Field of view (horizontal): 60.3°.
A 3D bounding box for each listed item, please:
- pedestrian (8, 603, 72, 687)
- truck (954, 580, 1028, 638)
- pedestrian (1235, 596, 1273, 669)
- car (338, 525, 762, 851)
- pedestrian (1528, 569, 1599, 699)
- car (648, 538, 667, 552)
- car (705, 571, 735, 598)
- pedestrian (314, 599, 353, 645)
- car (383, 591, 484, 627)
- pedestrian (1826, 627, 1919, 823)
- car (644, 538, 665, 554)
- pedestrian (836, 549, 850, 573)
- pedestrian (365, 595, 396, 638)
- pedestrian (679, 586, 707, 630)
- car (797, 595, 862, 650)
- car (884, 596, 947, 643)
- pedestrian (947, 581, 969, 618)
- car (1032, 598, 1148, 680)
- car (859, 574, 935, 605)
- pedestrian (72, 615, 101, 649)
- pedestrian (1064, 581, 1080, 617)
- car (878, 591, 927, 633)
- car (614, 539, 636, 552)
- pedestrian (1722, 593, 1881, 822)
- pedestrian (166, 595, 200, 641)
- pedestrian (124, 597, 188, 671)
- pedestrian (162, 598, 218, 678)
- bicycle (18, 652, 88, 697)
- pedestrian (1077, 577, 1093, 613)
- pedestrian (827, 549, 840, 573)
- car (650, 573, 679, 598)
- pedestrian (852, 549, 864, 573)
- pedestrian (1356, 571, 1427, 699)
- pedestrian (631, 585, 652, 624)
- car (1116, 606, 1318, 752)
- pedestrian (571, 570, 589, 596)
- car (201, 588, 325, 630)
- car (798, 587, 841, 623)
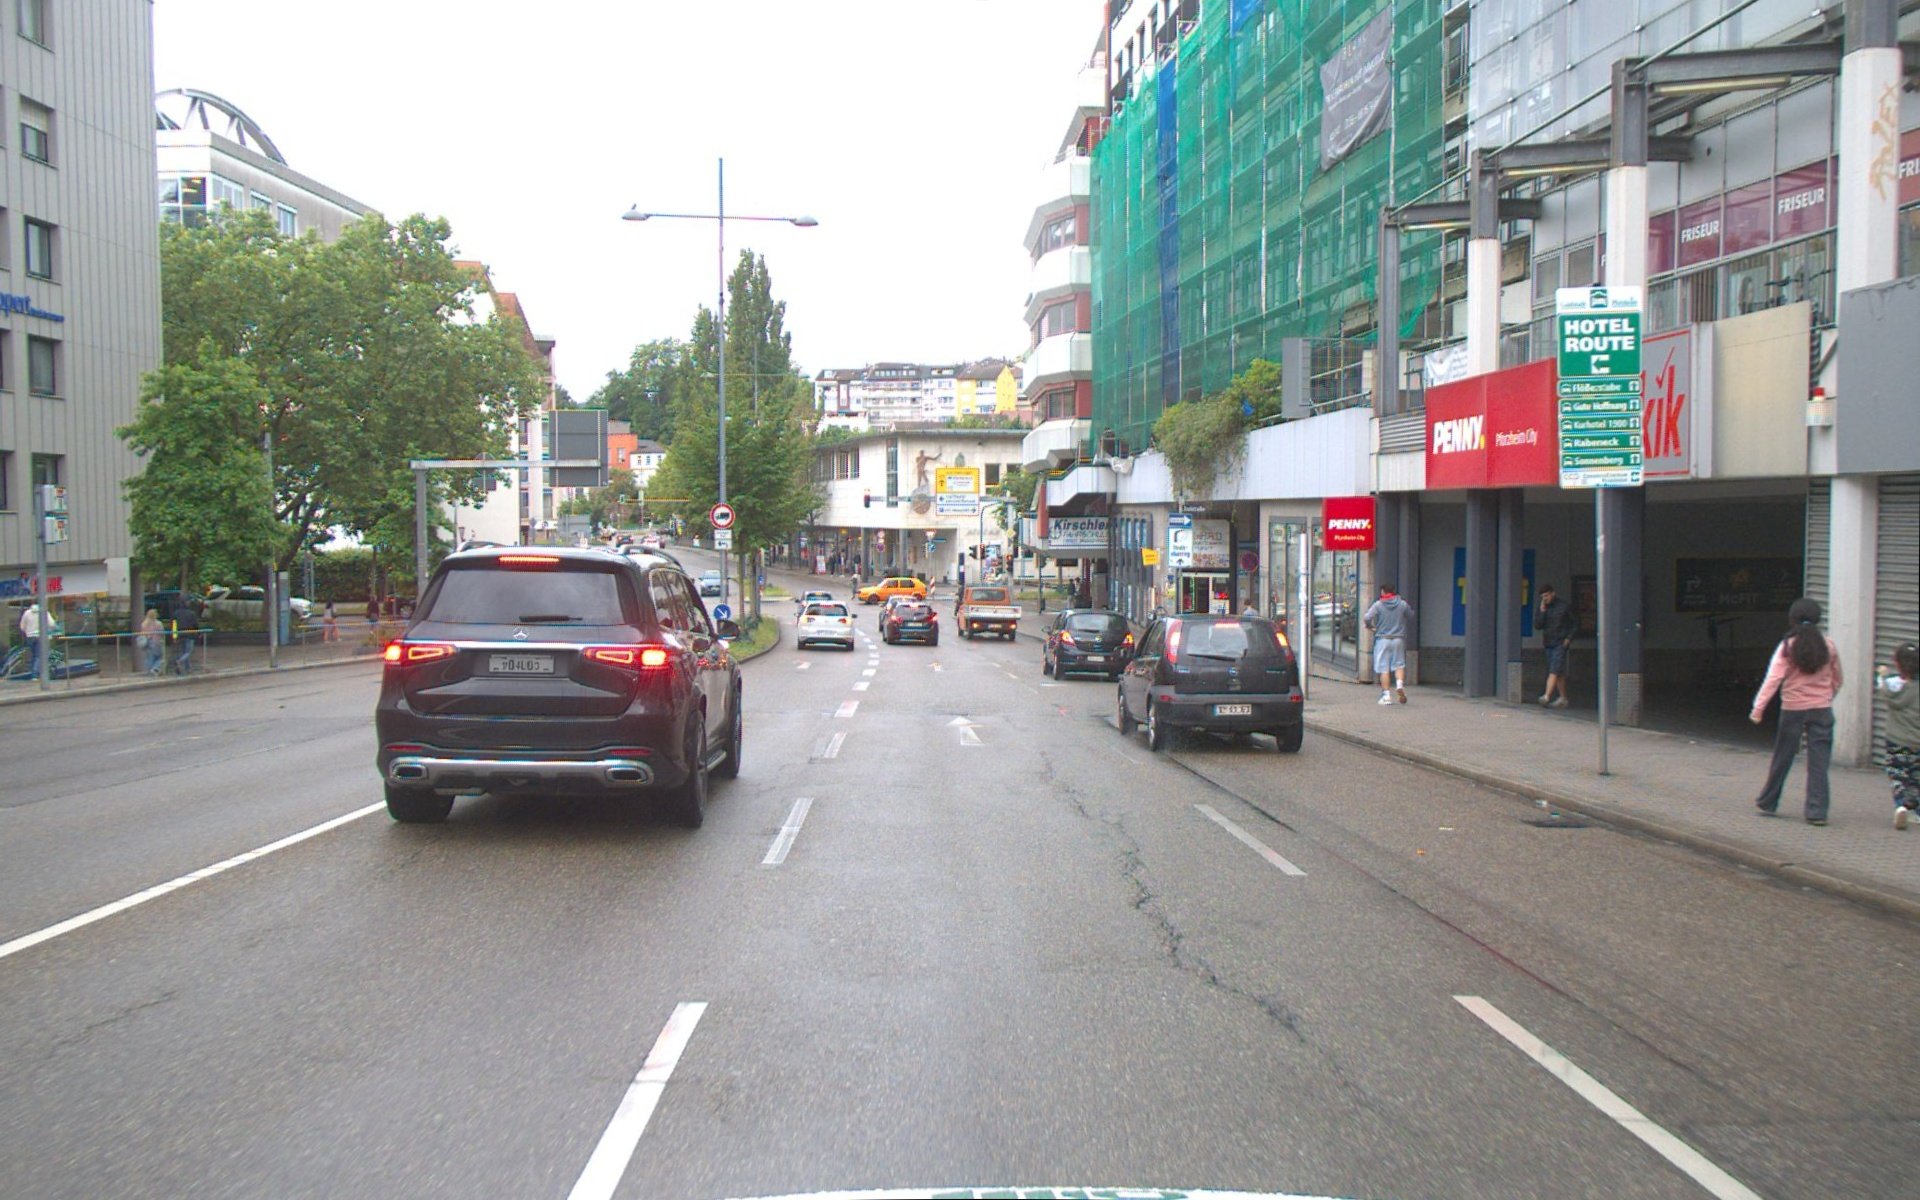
[{"bbox_3d":[-19.787,0.948,35.596,0.977,1.752,1.033,-1,0,-18],"label":"pedestrian"},{"bbox_3d":[1.131,0.299,63.641,2.142,2.119,5.595,0,0,-6],"label":"truck"},{"bbox_3d":[6.919,0.768,38.943,0.631,1.678,0.560,-2,-1,39],"label":"pedestrian"},{"bbox_3d":[-2.678,0.500,12.063,2.046,1.848,4.790,2,0,-3],"label":"car"},{"bbox_3d":[8.357,0.457,22.935,0.655,1.745,0.818,-1,0,0],"label":"pedestrian"},{"bbox_3d":[-36.401,-6.588,198.909,1.803,1.616,3.855,0,0,-17],"label":"car"},{"bbox_3d":[-14.630,-0.945,101.109,1.786,1.576,3.993,0,0,-8],"label":"car"},{"bbox_3d":[-24.928,0.863,65.849,0.929,1.752,1.015,-2,2,23],"label":"pedestrian"},{"bbox_3d":[-25.562,0.448,80.405,4.610,1.672,1.778,1,0,-18],"label":"car"},{"bbox_3d":[6.161,0.805,10.841,0.676,1.228,0.554,-1,0,5],"label":"pedestrian"},{"bbox_3d":[-33.720,-5.914,182.463,1.961,1.624,3.983,0,0,-16],"label":"car"},{"bbox_3d":[-9.025,-2.993,127.278,0.833,1.834,1.051,-1,0,-18],"label":"pedestrian"},{"bbox_3d":[-23.946,0.678,68.353,0.929,1.752,0.760,-1,0,17],"label":"pedestrian"},{"bbox_3d":[-12.030,0.347,74.445,1.041,1.915,0.839,-1,0,3],"label":"pedestrian"},{"bbox_3d":[-3.984,0.666,51.159,1.911,1.601,3.998,0,1,-3],"label":"car"},{"bbox_3d":[-1.587,0.663,57.511,1.777,1.466,3.994,1,1,-7],"label":"car"},{"bbox_3d":[-0.090,-0.019,79.227,0.989,1.752,0.838,-1,0,1],"label":"pedestrian"},{"bbox_3d":[2.699,0.785,35.203,1.911,1.601,3.997,0,1,-4],"label":"car"},{"bbox_3d":[-3.510,-0.576,91.574,3.929,1.645,1.769,0,0,-14],"label":"car"},{"bbox_3d":[-34.329,1.269,65.005,0.939,1.294,0.752,-2,1,-30],"label":"pedestrian"},{"bbox_3d":[5.475,-0.054,81.061,0.566,1.729,0.648,-1,0,-13],"label":"pedestrian"},{"bbox_3d":[-2.355,0.453,66.966,1.727,1.569,3.995,0,1,-6],"label":"car"},{"bbox_3d":[-41.117,-6.695,202.968,1.727,1.581,3.539,0,1,-26],"label":"car"},{"bbox_3d":[5.651,0.707,11.136,0.730,1.462,0.597,-3,0,5],"label":"pedestrian"},{"bbox_3d":[-30.192,0.708,64.269,0.741,1.752,0.953,-1,0,9],"label":"pedestrian"},{"bbox_3d":[-19.780,0.827,40.714,0.953,1.752,1.090,-1,0,4],"label":"pedestrian"},{"bbox_3d":[-17.524,0.852,37.654,0.801,1.743,1.310,-1,0,-10],"label":"pedestrian"},{"bbox_3d":[-24.945,2.029,45.555,0.599,1.106,2.669,0,0,-3],"label":"bicycle"},{"bbox_3d":[6.131,-0.261,81.193,0.566,1.729,0.647,-1,0,-18],"label":"pedestrian"},{"bbox_3d":[-9.774,-2.994,128.174,0.786,1.834,0.913,-1,0,-18],"label":"pedestrian"},{"bbox_3d":[-17.880,-0.881,99.920,1.676,1.476,3.851,0,0,-11],"label":"car"},{"bbox_3d":[-7.880,-2.986,127.981,0.691,1.834,0.934,-1,0,-18],"label":"pedestrian"},{"bbox_3d":[6.078,0.483,23.348,0.818,1.752,0.830,-1,0,5],"label":"pedestrian"},{"bbox_3d":[-14.620,0.202,75.913,0.819,1.752,0.818,-1,0,-3],"label":"pedestrian"},{"bbox_3d":[2.773,0.804,18.598,1.682,1.445,3.770,0,0,0],"label":"car"},{"bbox_3d":[-23.605,-1.051,102.639,0.919,1.636,0.554,-2,0,-44],"label":"pedestrian"},{"bbox_3d":[-32.016,0.413,76.097,4.988,1.790,1.992,1,0,-16],"label":"car"},{"bbox_3d":[-6.065,0.191,71.212,1.760,1.494,3.995,0,1,-6],"label":"car"}]
